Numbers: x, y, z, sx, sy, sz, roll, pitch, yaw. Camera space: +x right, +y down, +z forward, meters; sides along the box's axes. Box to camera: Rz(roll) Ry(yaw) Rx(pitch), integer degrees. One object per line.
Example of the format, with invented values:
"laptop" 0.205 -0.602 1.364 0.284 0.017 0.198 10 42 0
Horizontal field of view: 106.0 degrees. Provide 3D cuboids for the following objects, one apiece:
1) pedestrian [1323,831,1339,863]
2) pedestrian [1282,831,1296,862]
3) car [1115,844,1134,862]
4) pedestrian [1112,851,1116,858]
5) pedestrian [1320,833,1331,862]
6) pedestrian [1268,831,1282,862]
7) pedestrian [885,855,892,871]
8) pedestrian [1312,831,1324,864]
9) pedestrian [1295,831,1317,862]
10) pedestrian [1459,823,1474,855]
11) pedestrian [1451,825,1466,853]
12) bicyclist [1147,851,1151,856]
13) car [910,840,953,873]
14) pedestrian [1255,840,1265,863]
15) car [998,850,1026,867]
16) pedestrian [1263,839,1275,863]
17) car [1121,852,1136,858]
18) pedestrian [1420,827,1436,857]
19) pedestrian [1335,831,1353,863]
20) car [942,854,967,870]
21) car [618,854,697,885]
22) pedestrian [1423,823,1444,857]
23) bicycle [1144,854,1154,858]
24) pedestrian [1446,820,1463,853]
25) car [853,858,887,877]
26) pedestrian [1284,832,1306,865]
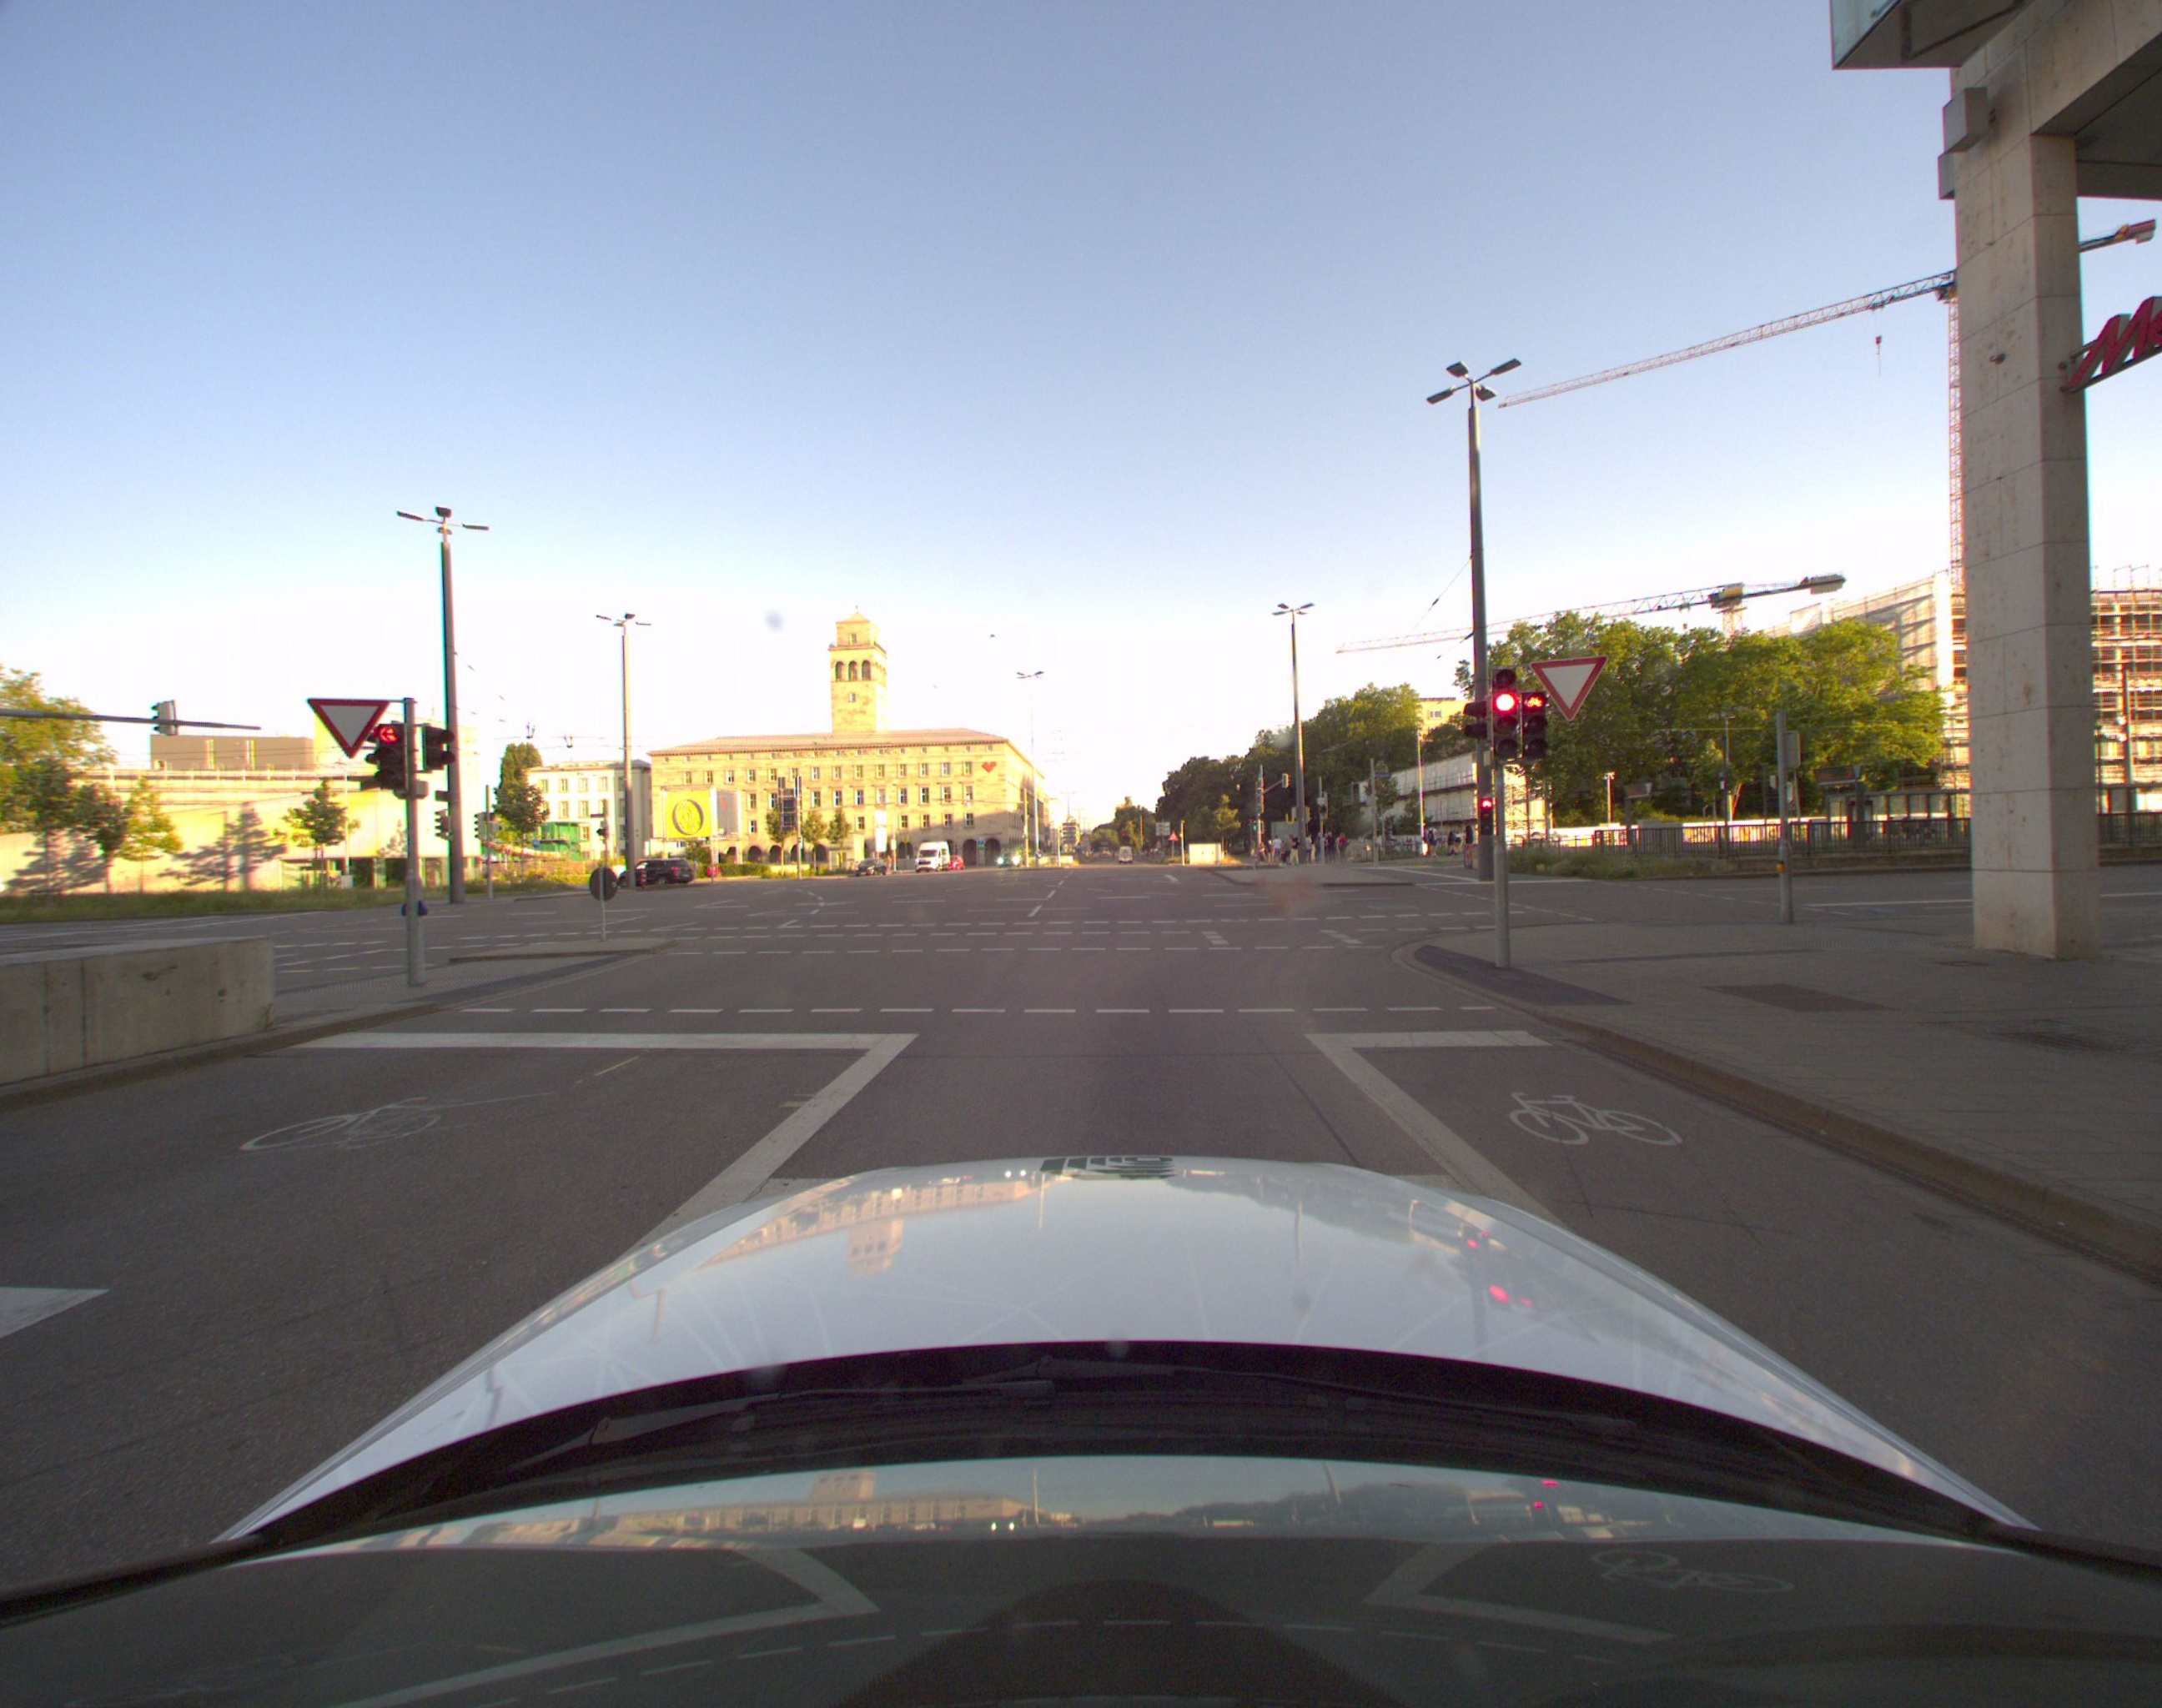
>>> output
"pedestrian" 13.942 -0.394 45.461 0.799 1.791 0.804 -2 1 16
"pedestrian" 11.921 -0.444 46.690 0.705 1.725 0.671 -2 1 15
"car" 4.270 -0.092 80.001 1.479 1.696 2.971 -2 0 -3
"pedestrian" 7.922 0.111 194.750 0.903 1.671 1.307 -2 1 1
"pedestrian" 14.113 -0.382 46.956 0.568 1.678 0.641 -2 1 16
"pedestrian" 11.096 -0.439 46.554 0.705 1.725 0.671 -2 1 16
"pedestrian" -21.014 0.990 88.834 0.620 1.744 0.459 0 -1 -4
"pedestrian" 13.226 -0.374 45.508 0.568 1.791 0.641 -2 1 16
"pedestrian" 12.835 -0.424 46.475 0.919 1.725 0.705 -2 1 -36
"pedestrian" 21.129 -0.842 44.616 0.660 1.725 0.717 -2 0 30
"pedestrian" 20.244 -0.804 43.684 0.670 1.441 0.718 -2 0 24
"bicyclist" 18.857 -0.059 225.612 0.831 1.463 0.658 -2 0 -11
"car" -13.287 0.215 72.984 2.269 2.776 6.090 -2 0 4
"pedestrian" 13.342 -0.168 60.609 0.555 1.654 0.907 -2 1 22
"car" -6.168 0.375 72.961 1.815 1.341 4.005 -2 1 4
"pedestrian" 13.954 -0.199 60.442 0.673 1.757 0.907 -2 1 22
"car" 13.720 0.192 235.540 3.959 1.487 1.751 -2 1 13
"pedestrian" 18.954 -0.669 44.495 0.569 1.592 0.537 -2 0 1
"pedestrian" 14.793 -0.385 45.821 0.838 1.734 0.708 -2 1 14
"car" -12.639 0.774 81.670 1.732 1.487 4.002 -2 1 2
"car" -24.217 0.903 46.587 4.084 1.604 1.754 -2 0 22
"pedestrian" 18.751 -0.742 43.314 0.712 1.725 0.665 -2 0 -16
"bicycle" 18.827 0.506 225.567 2.603 0.959 0.512 0 -1 -12
"pedestrian" 19.729 -0.938 43.039 0.705 1.725 0.672 -2 0 19
"car" -18.345 1.165 70.899 1.817 1.466 4.158 -2 1 0
"pedestrian" 11.368 -0.311 43.256 0.912 1.725 0.710 -2 1 -11
